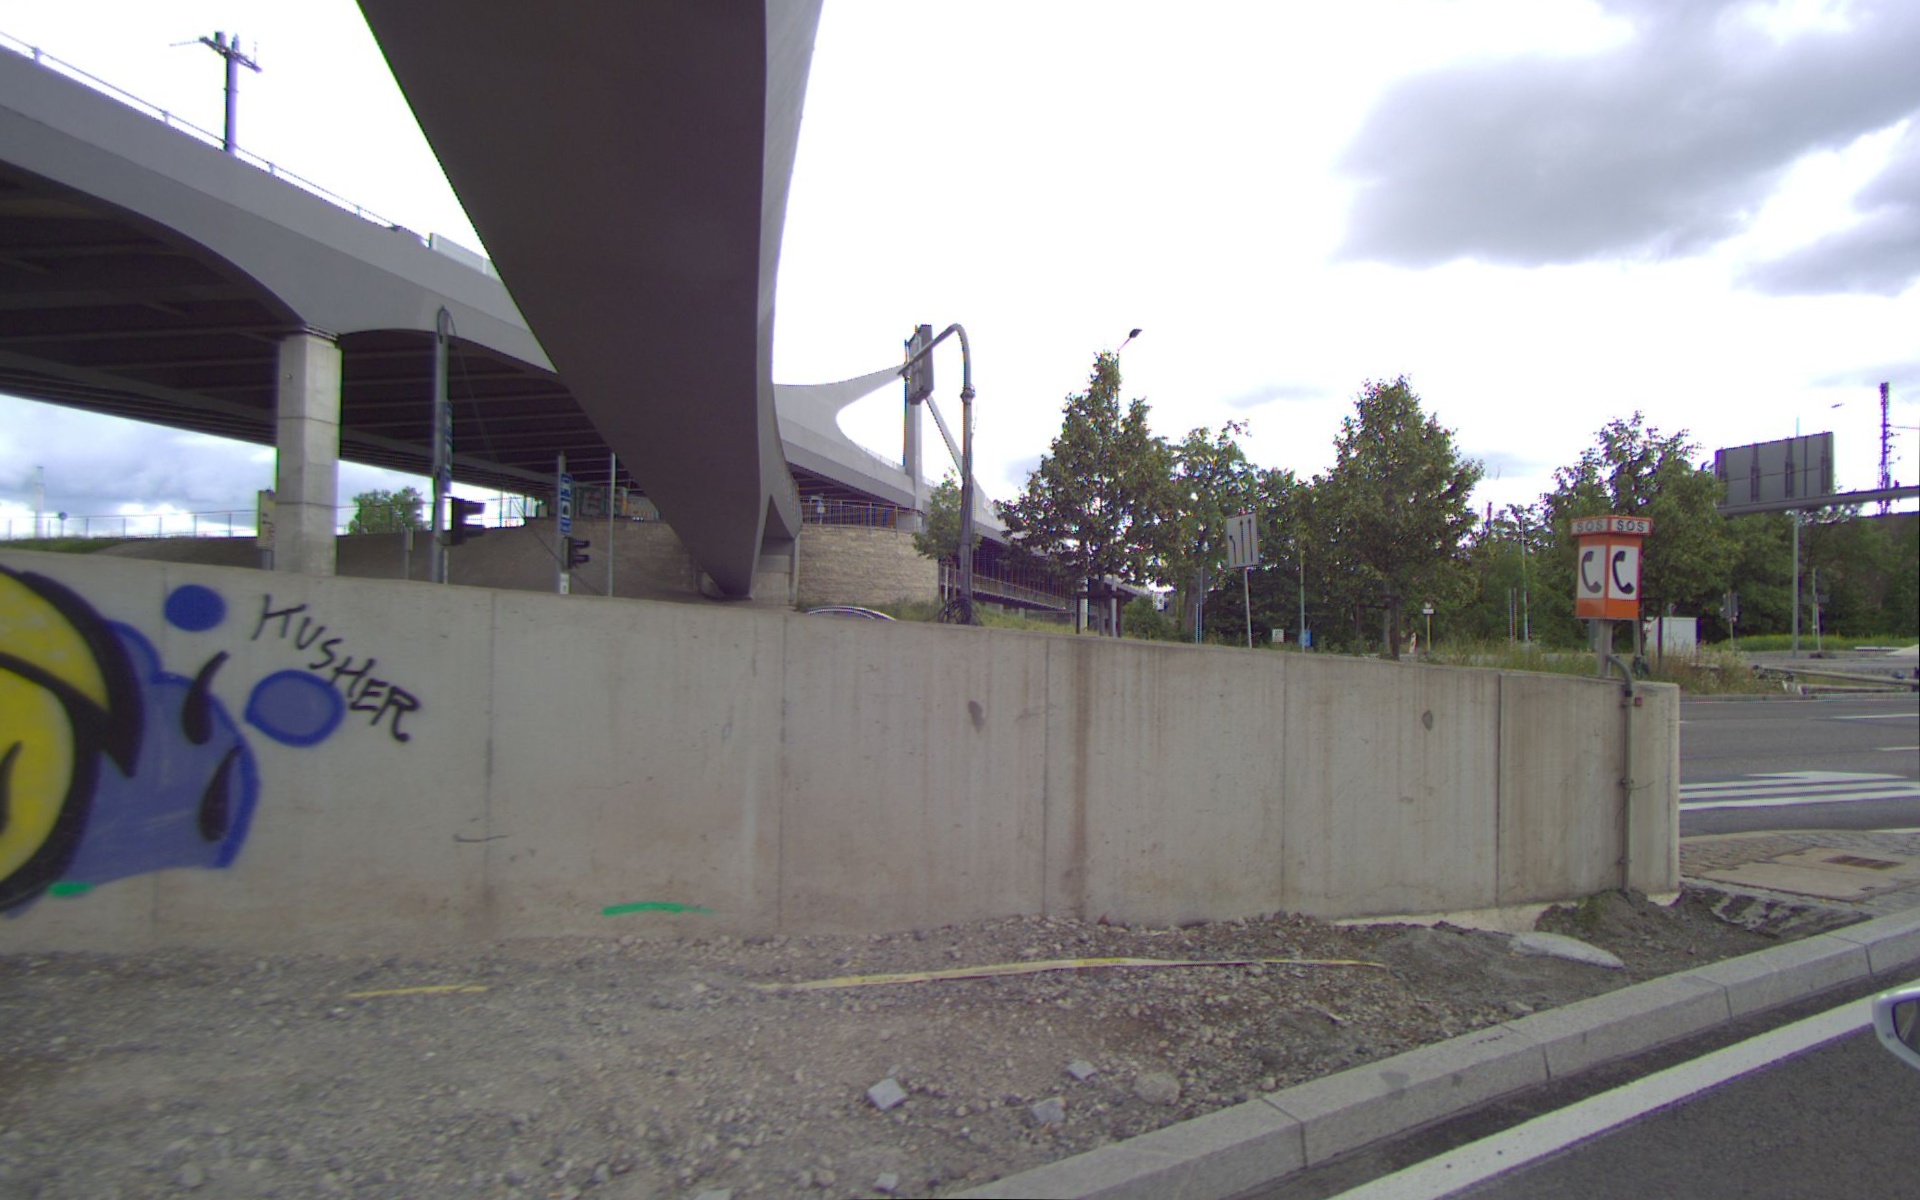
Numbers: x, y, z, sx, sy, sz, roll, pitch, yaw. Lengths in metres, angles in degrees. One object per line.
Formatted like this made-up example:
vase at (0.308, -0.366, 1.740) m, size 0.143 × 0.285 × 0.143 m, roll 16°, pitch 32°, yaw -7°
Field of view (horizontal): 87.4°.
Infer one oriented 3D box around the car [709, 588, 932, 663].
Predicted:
car at (-3.024, 0.535, 21.547) m, size 4.540 × 1.497 × 1.788 m, roll 0°, pitch -1°, yaw -17°

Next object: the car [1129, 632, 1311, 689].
car at (6.269, 1.435, 24.410) m, size 3.930 × 1.151 × 1.709 m, roll -1°, pitch 0°, yaw -12°
